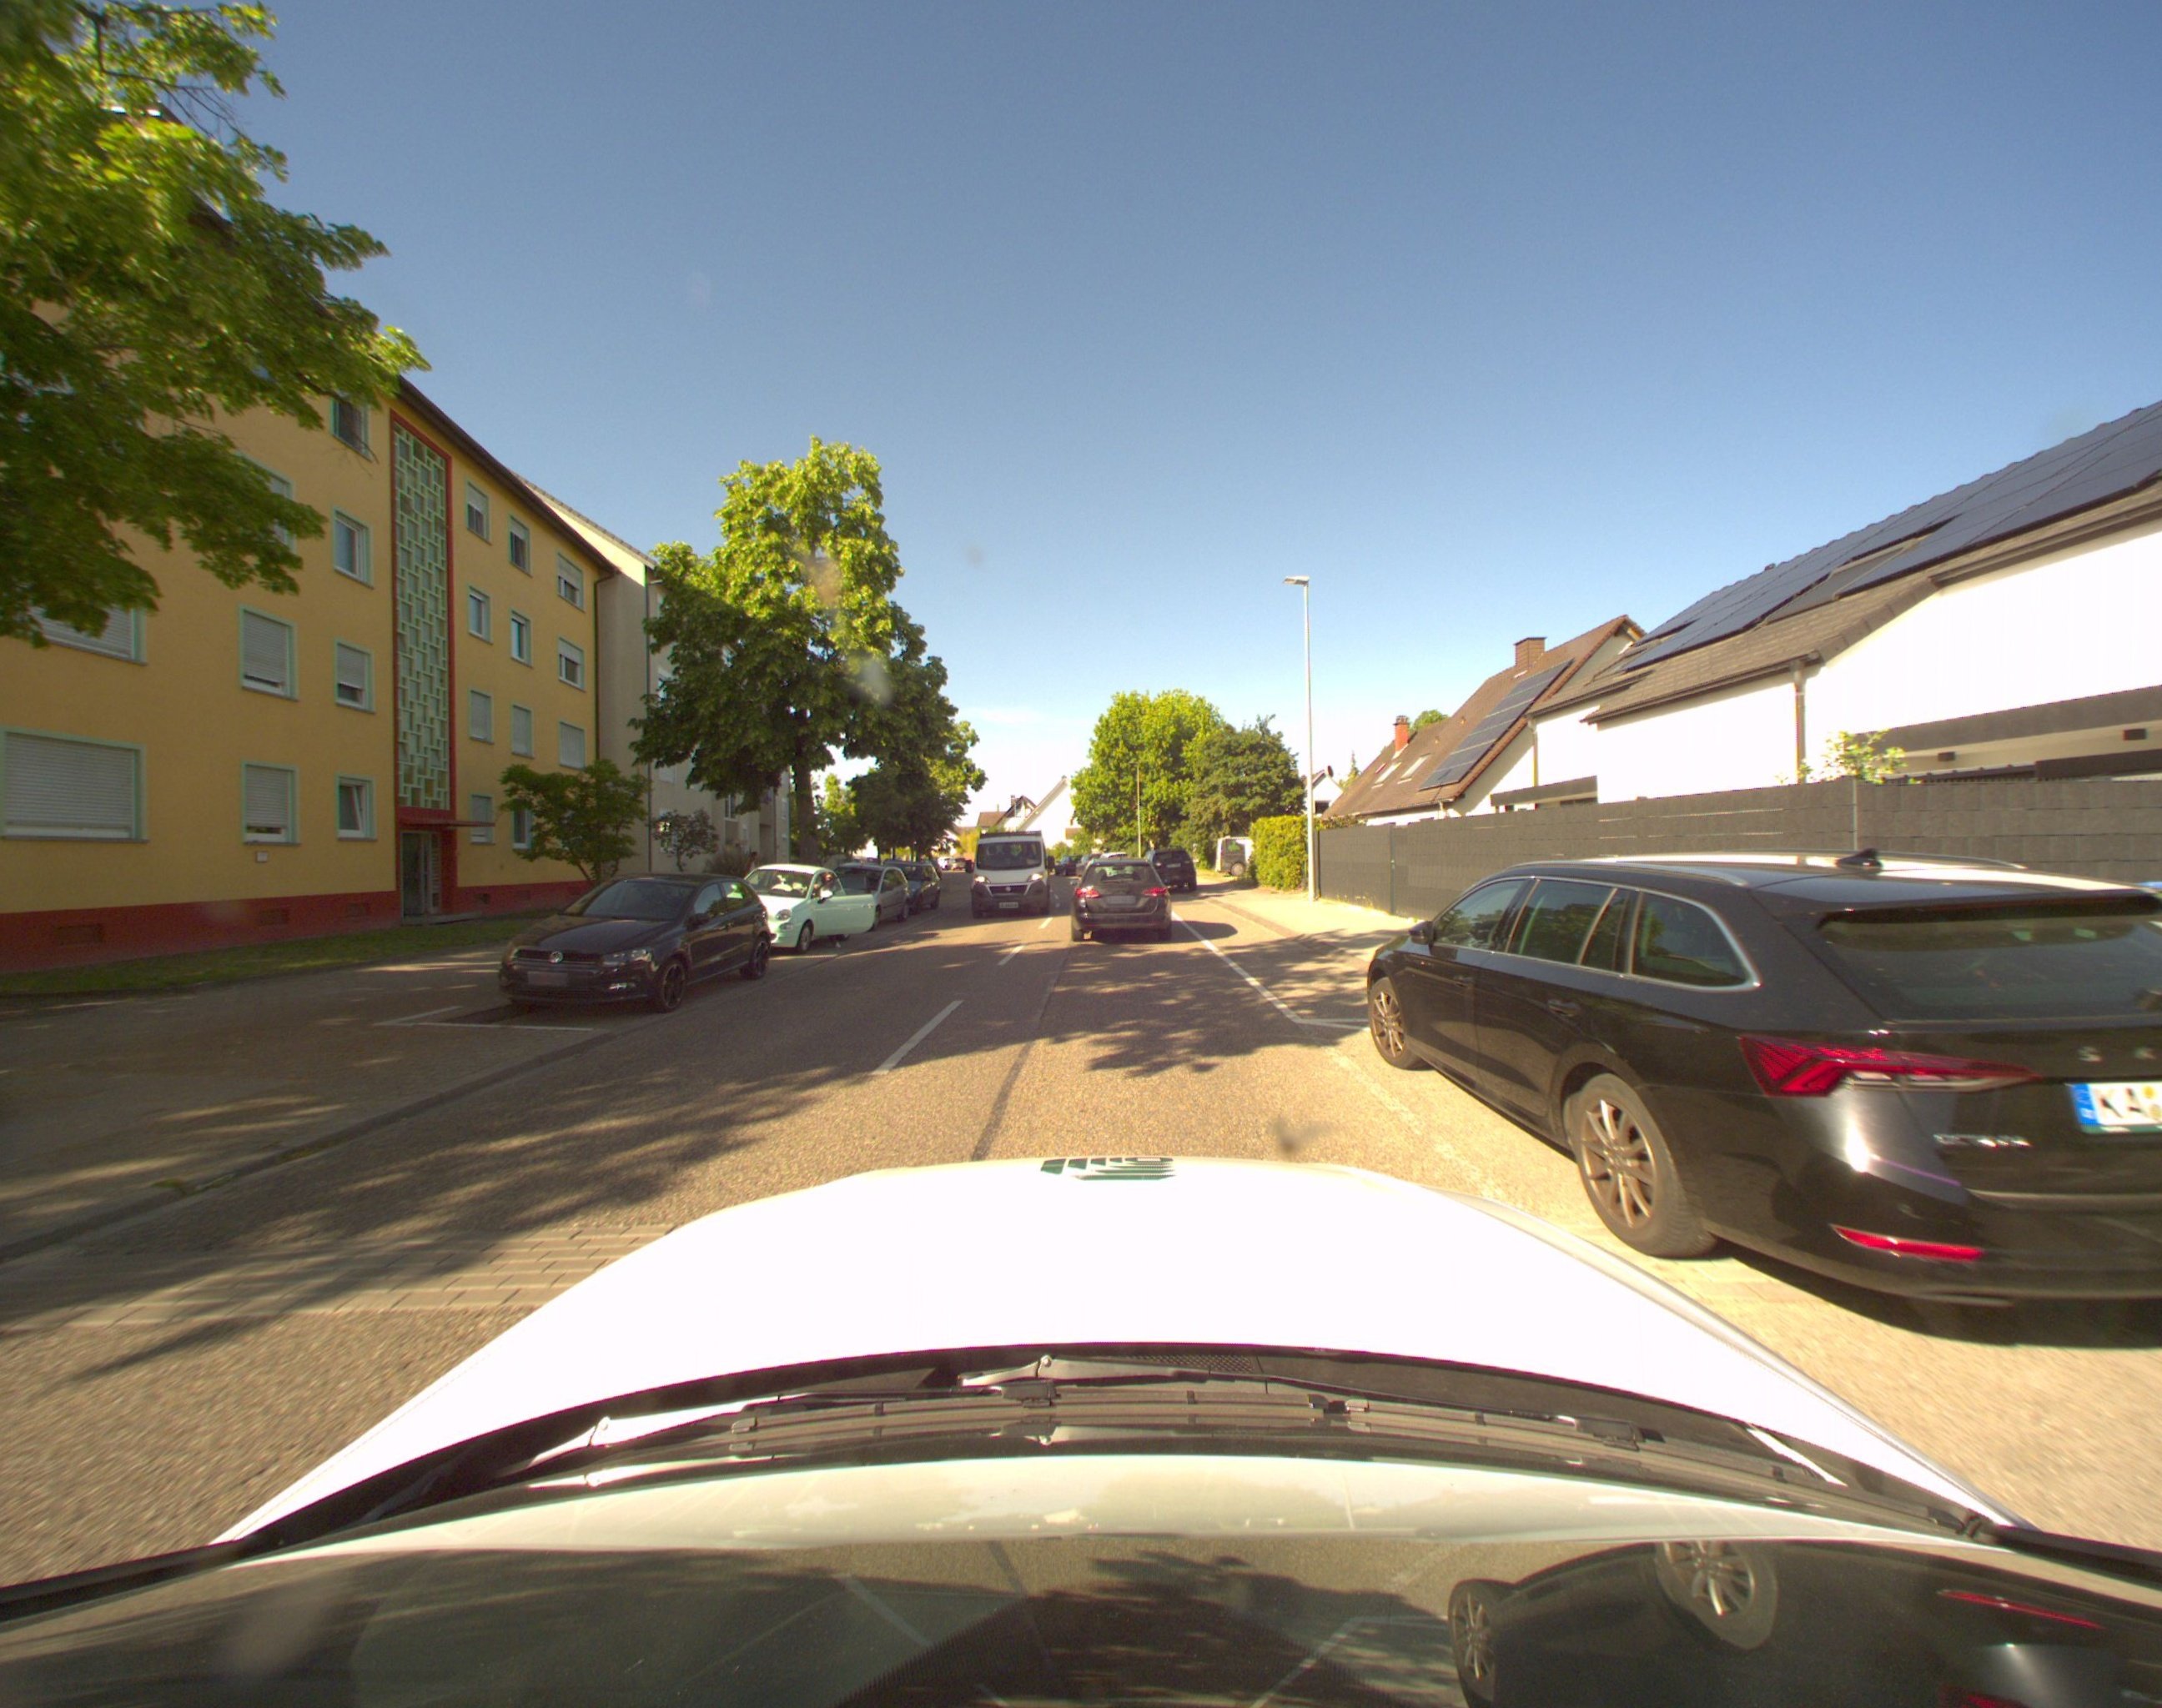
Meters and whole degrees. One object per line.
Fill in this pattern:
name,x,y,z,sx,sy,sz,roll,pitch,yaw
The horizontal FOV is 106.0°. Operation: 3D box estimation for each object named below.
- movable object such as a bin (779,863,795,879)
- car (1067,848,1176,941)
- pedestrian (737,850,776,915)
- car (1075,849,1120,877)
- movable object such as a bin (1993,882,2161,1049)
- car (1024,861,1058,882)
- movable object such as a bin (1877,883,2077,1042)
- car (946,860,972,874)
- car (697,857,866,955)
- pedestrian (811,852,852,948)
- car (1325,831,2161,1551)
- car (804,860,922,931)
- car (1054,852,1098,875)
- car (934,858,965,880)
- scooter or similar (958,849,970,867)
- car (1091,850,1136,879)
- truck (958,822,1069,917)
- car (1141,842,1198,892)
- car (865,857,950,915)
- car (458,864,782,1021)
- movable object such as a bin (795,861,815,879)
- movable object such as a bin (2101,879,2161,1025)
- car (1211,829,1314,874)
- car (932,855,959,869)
movable object such as a bin,-25.462,1.481,70.477,1.174,1.321,1.082,-3,-2,-15
car,0.721,0.686,15.589,1.755,1.491,4.292,-2,0,1
pedestrian,-8.863,0.783,22.268,0.683,1.718,0.720,-3,-2,1
car,1.012,0.559,51.779,1.912,1.600,4.277,-3,0,-11
movable object such as a bin,7.020,0.730,5.614,0.592,1.040,0.705,-3,-2,3
car,-3.250,1.421,65.970,1.823,1.534,4.236,-3,0,-15
movable object such as a bin,6.432,0.751,5.888,0.592,1.040,0.705,-3,-2,3
car,-13.320,1.469,88.664,1.923,1.407,4.265,-3,0,-20
car,-5.542,0.920,15.659,1.695,1.523,4.050,-4,-1,-1
pedestrian,-4.733,0.860,15.471,0.503,1.761,0.694,-3,-2,-2
car,2.859,0.700,4.259,1.759,1.480,4.994,-4,1,2
car,-5.320,0.958,20.436,1.651,1.510,4.003,-2,0,3
car,-0.391,0.669,57.059,2.009,1.475,4.272,-3,0,-14
car,-9.439,1.050,58.129,1.692,1.491,4.268,-1,0,-16
scooter or similar,-14.149,0.499,98.385,0.688,2.014,2.939,-2,-2,-23
car,1.841,0.605,47.235,1.760,1.480,4.281,-3,0,-9
truck,-1.790,0.383,24.141,2.120,2.334,6.451,-4,0,5
car,3.323,0.479,31.370,1.771,1.724,4.296,-3,0,2
car,-5.220,0.911,25.004,1.561,1.530,3.921,1,1,2
car,-5.169,0.898,9.868,1.696,1.480,4.049,-1,-1,-2
movable object such as a bin,-24.029,1.378,70.844,1.520,1.427,1.082,-3,-2,-15
movable object such as a bin,8.119,0.708,5.860,0.592,1.040,0.705,-3,-2,3
car,9.049,-0.120,40.924,4.664,1.983,2.143,-3,0,1
car,-15.797,0.925,94.515,1.926,1.407,4.257,-3,0,-26
